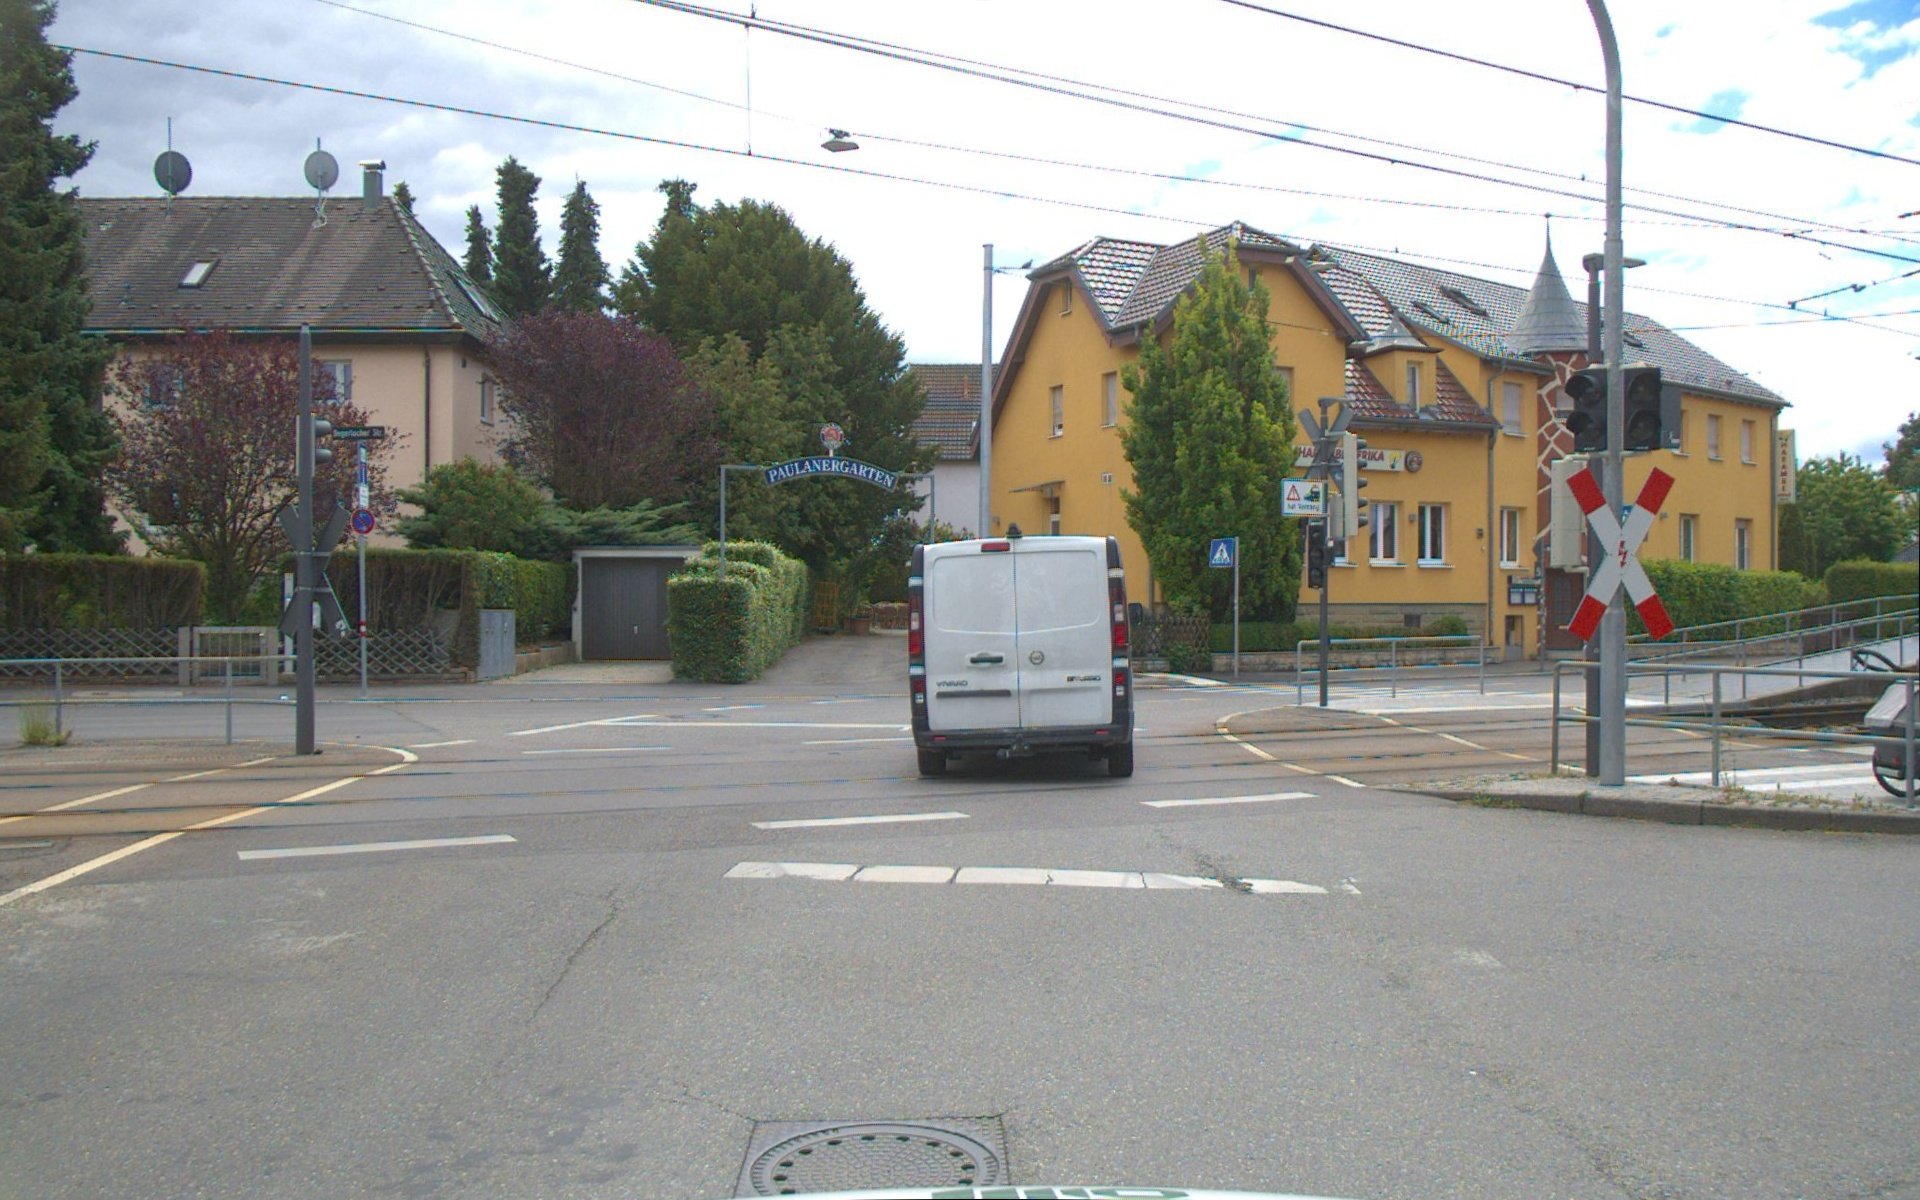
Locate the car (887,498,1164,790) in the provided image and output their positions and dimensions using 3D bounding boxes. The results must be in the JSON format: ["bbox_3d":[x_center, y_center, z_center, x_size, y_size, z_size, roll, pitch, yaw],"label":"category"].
[{"bbox_3d":[0.744,0.302,15.202,2.072,2.171,5.444,1,0,5],"label":"car"}]

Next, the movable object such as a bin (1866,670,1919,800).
[{"bbox_3d":[6.869,0.909,11.293,1.070,0.839,0.579,0,0,-7],"label":"movable object such as a bin"}]

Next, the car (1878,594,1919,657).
[{"bbox_3d":[26.342,0.701,43.430,4.324,1.591,2.333,1,0,-36],"label":"car"}]

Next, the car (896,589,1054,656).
[{"bbox_3d":[0.384,0.528,41.054,3.634,1.452,1.708,-1,3,-33],"label":"car"}]
